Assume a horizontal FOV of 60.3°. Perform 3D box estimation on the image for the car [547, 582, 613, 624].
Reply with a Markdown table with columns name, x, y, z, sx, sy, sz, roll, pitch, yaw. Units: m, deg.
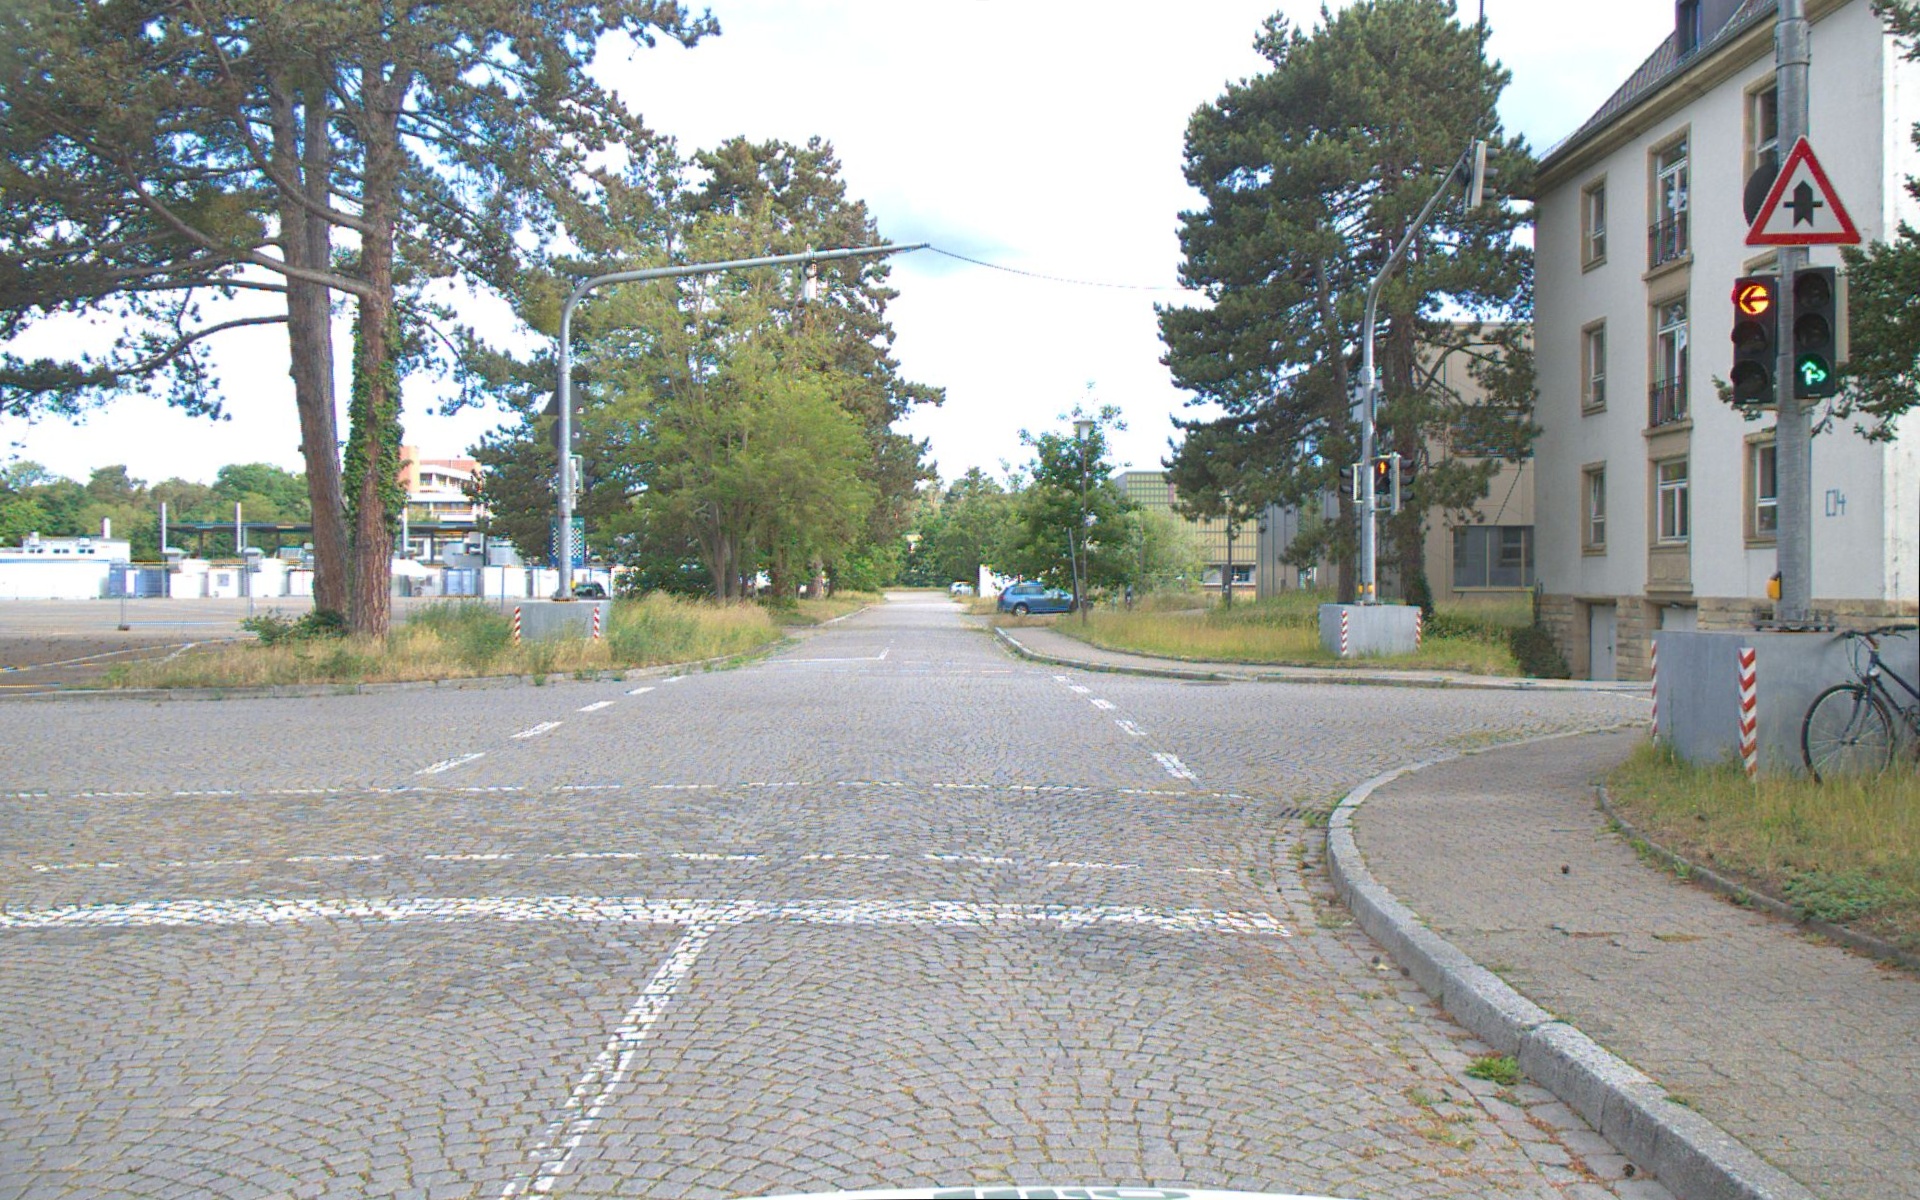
| name | x | y | z | sx | sy | sz | roll | pitch | yaw |
| --- | --- | --- | --- | --- | --- | --- | --- | --- | --- |
| car | -13.965 | 0.081 | 60.949 | 1.580 | 1.513 | 3.999 | 0 | 1 | -1 |

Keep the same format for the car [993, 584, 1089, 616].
| name | x | y | z | sx | sy | sz | roll | pitch | yaw |
| --- | --- | --- | --- | --- | --- | --- | --- | --- | --- |
| car | 3.705 | 0.000 | 76.300 | 4.258 | 1.447 | 1.999 | 0 | 1 | -4 |

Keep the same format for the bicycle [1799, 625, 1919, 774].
| name | x | y | z | sx | sy | sz | roll | pitch | yaw |
| --- | --- | --- | --- | --- | --- | --- | --- | --- | --- |
| bicycle | 6.242 | 0.610 | 10.394 | 1.665 | 0.889 | 0.573 | 0 | 1 | -1 |

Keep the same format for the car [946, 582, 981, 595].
| name | x | y | z | sx | sy | sz | roll | pitch | yaw |
| --- | --- | --- | --- | --- | --- | --- | --- | --- | --- |
| car | 0.429 | -1.329 | 193.307 | 3.911 | 1.422 | 1.997 | 0 | 1 | -7 |
